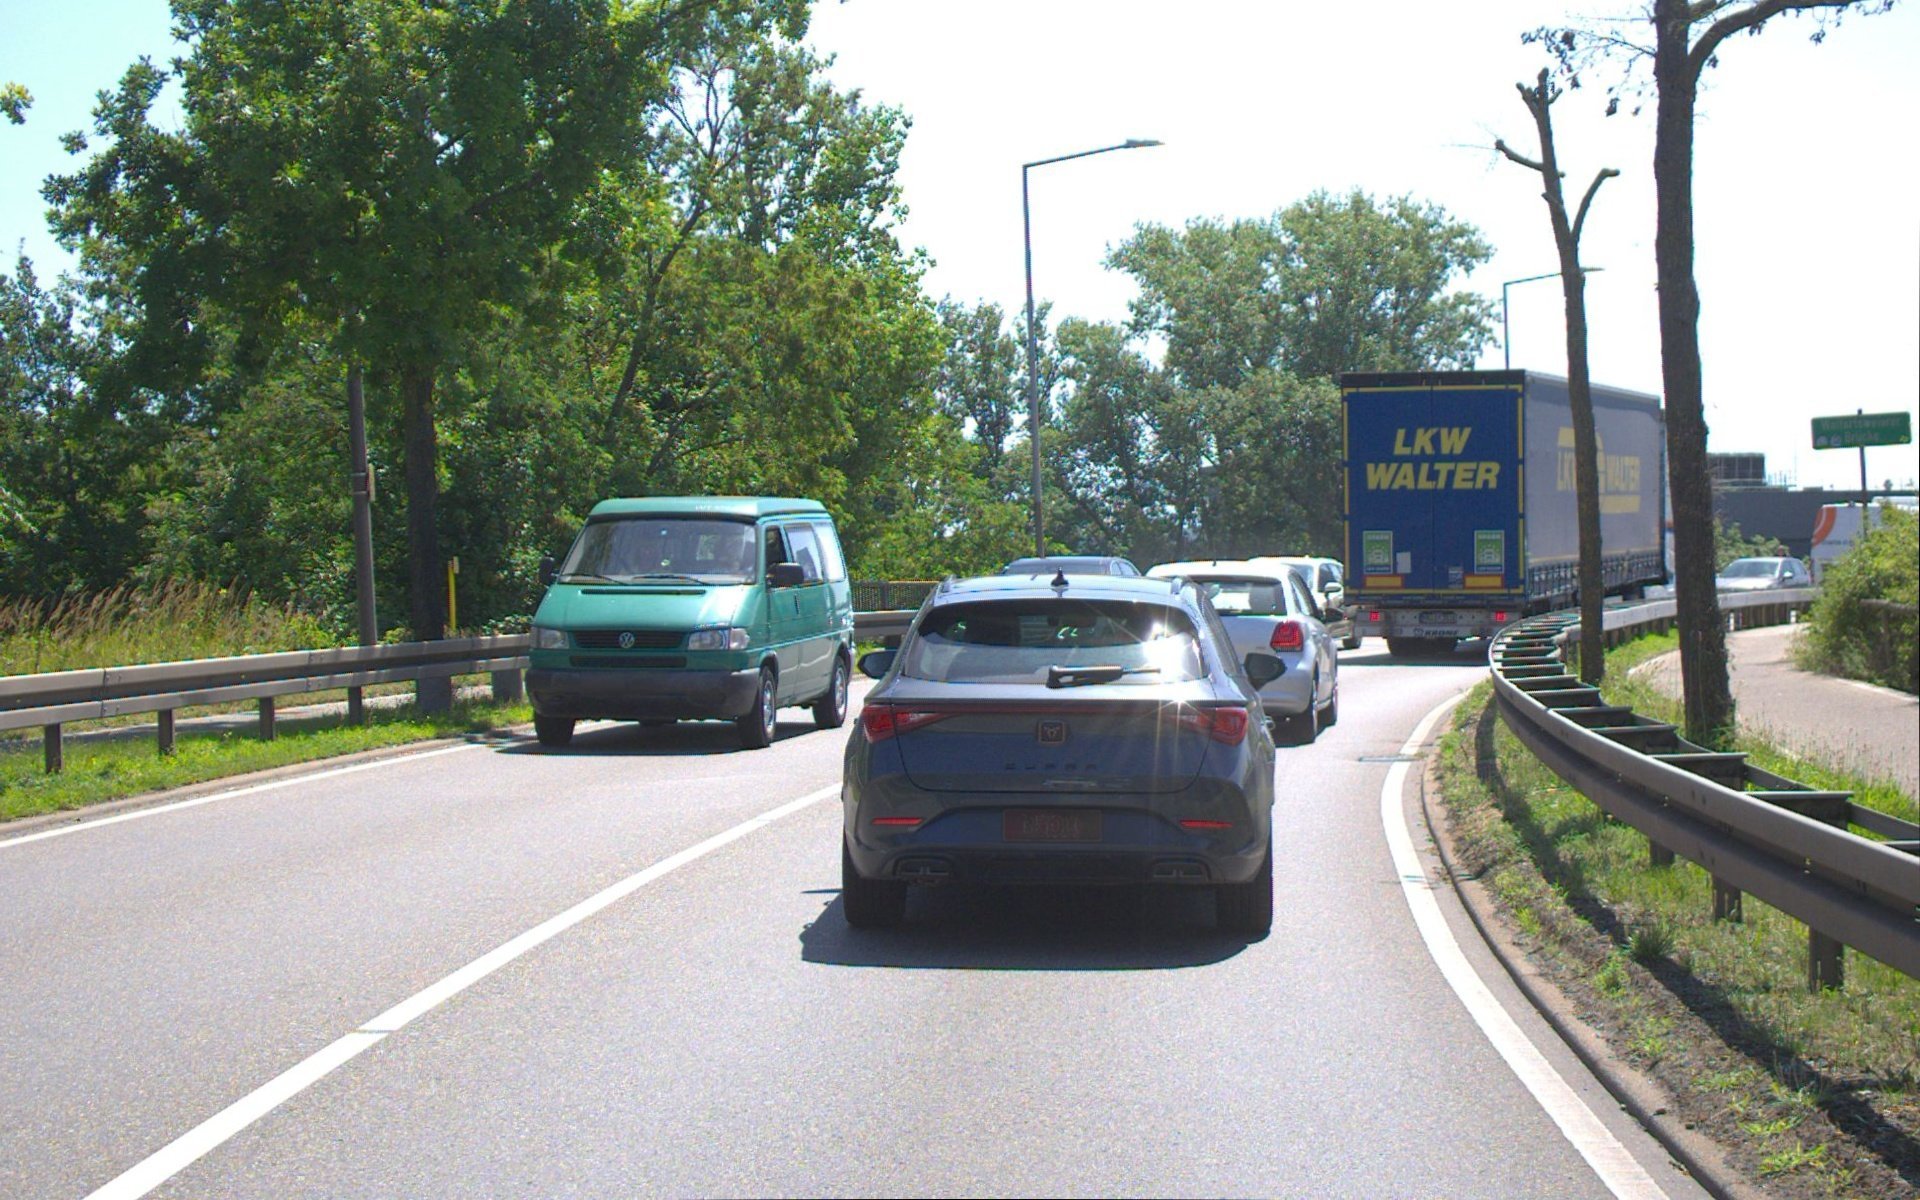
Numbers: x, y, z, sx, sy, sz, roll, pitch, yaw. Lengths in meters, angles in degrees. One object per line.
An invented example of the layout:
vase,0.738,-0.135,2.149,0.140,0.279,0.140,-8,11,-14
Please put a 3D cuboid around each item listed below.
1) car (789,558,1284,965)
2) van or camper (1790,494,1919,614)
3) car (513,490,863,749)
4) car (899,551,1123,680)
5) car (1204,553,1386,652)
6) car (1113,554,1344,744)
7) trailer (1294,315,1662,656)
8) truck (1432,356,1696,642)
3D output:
car,0.416,0.578,14.695,1.846,1.493,3.757,0,1,4
van or camper,21.200,-1.090,80.892,2.206,2.702,5.918,0,1,24
car,-2.113,0.109,28.160,1.831,1.932,4.774,0,1,8
car,0.690,0.146,41.904,1.847,1.462,4.738,0,1,12
car,5.235,0.001,53.267,1.703,1.442,4.455,1,1,21
car,2.285,0.357,28.555,1.593,1.456,3.543,1,1,9
trailer,8.283,-1.626,52.975,3.137,4.598,12.935,1,1,20
truck,10.478,-1.645,59.022,3.173,4.569,7.389,1,0,20
